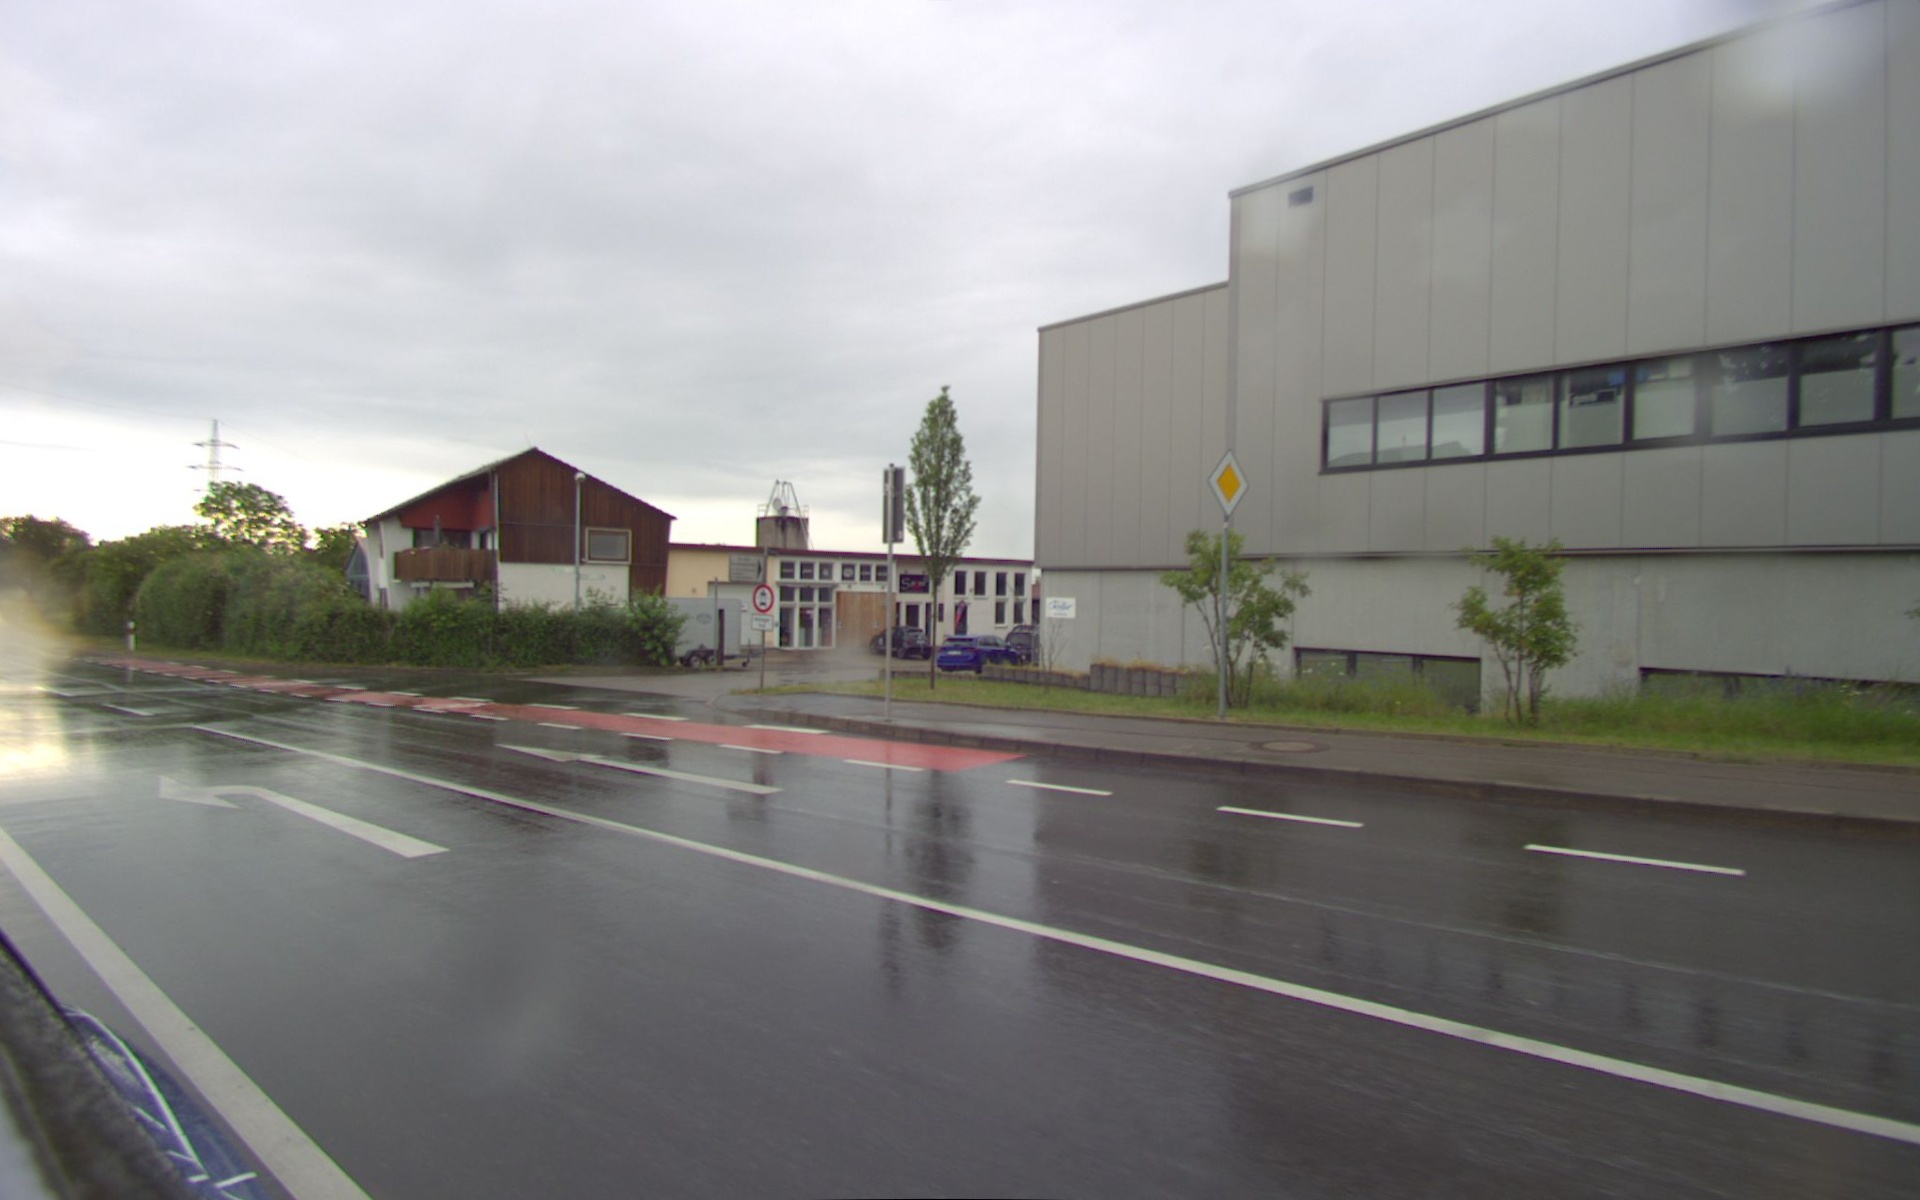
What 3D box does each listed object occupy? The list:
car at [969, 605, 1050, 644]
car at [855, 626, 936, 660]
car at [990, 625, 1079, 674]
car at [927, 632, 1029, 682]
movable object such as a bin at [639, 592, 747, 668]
[{"bbox_3d":[2.610,1.330,54.355,1.967,1.919,4.420,4,-3,-36],"label":"car"},{"bbox_3d":[-3.180,2.098,49.550,1.968,1.567,4.007,4,-4,-39],"label":"car"},{"bbox_3d":[3.155,2.066,41.923,2.071,1.849,4.428,0,-3,27],"label":"car"},{"bbox_3d":[0.709,2.051,36.197,1.948,1.622,4.407,0,-3,26],"label":"car"},{"bbox_3d":[-9.680,1.130,36.774,3.289,2.576,1.740,4,-4,-44],"label":"movable object such as a bin"}]
